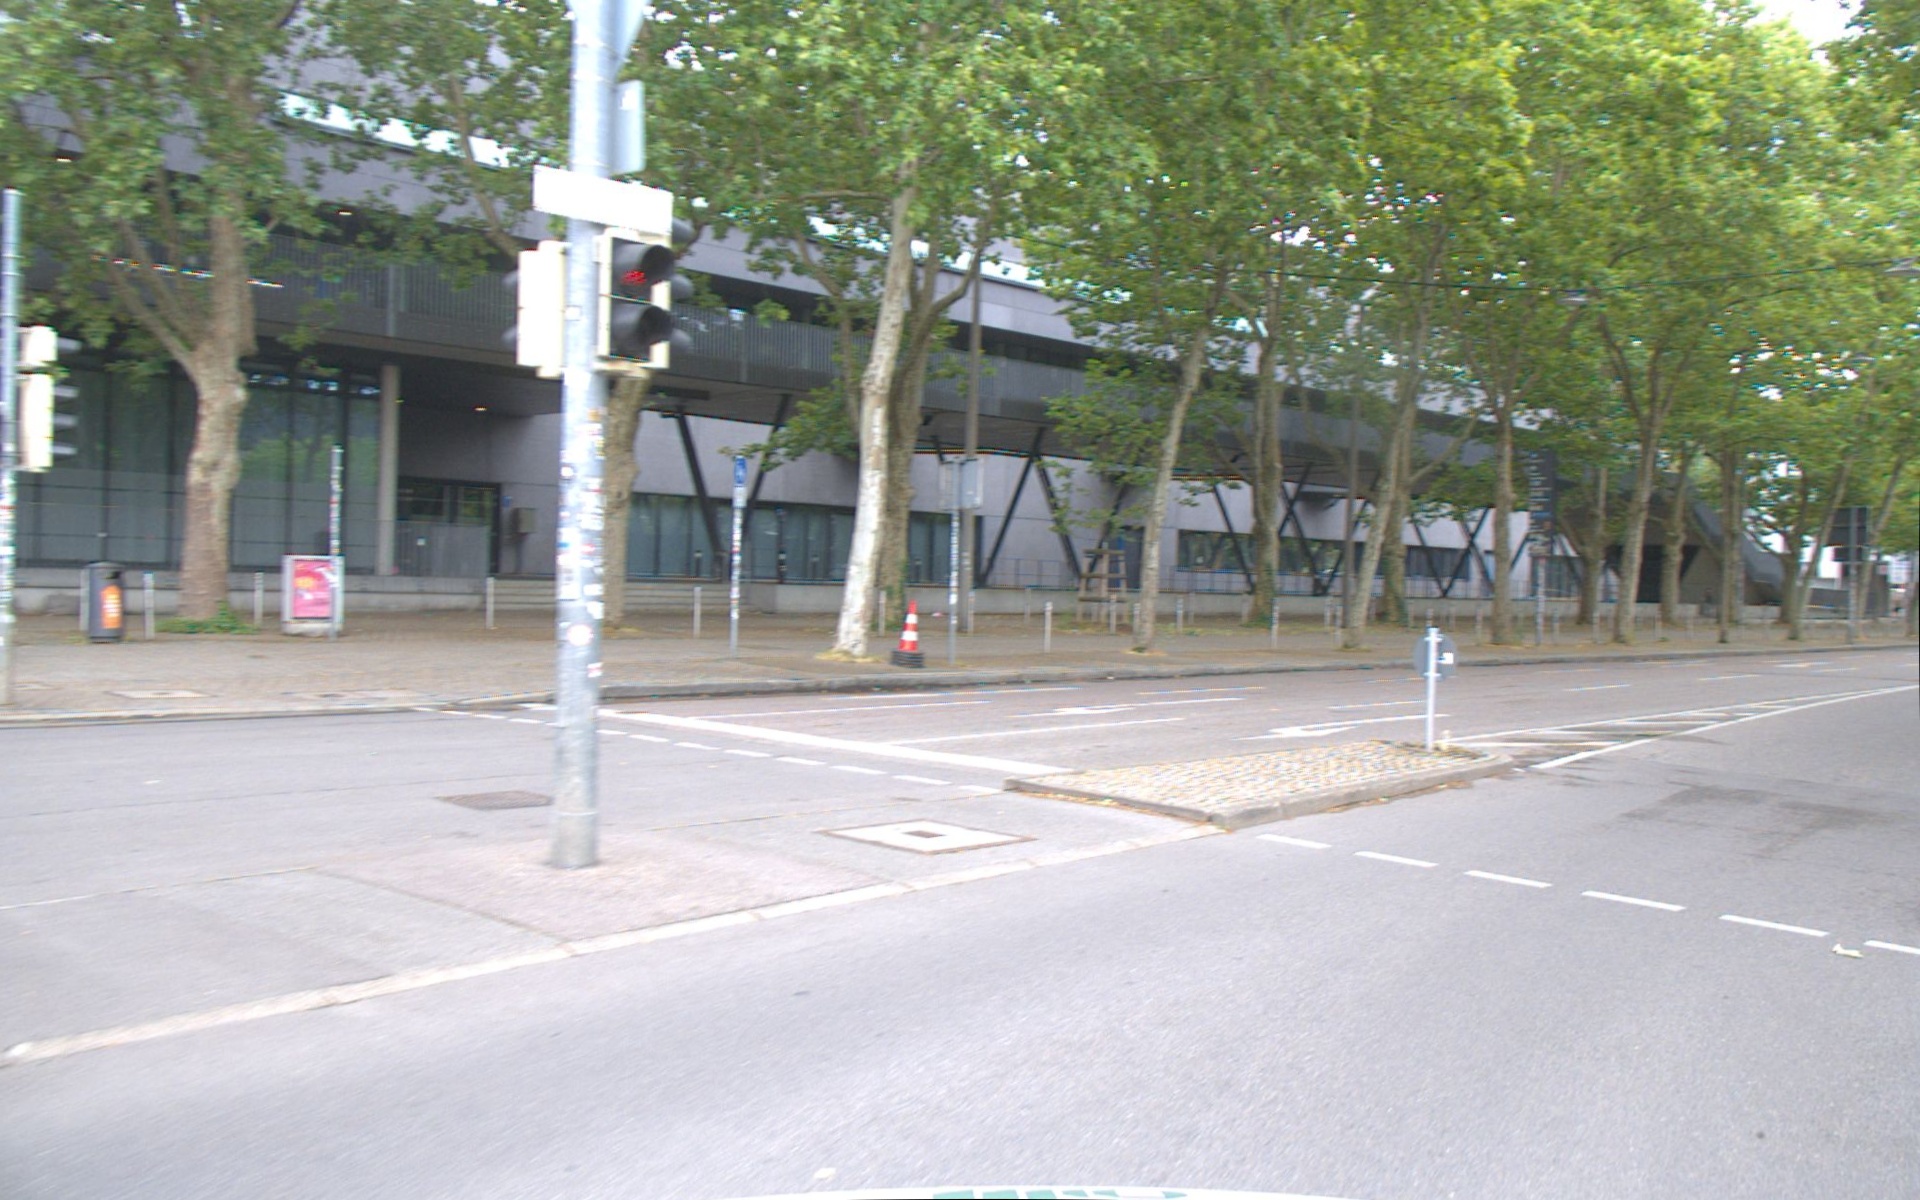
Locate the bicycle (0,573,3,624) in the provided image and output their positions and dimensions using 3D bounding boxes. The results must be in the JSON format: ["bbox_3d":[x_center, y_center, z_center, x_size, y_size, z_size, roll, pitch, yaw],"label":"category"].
[{"bbox_3d":[-11.981,0.165,19.057,0.508,1.031,1.528,1,-2,42],"label":"bicycle"}]

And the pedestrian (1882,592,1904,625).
[{"bbox_3d":[53.788,0.463,95.346,0.753,1.866,0.879,2,1,10],"label":"pedestrian"}]
